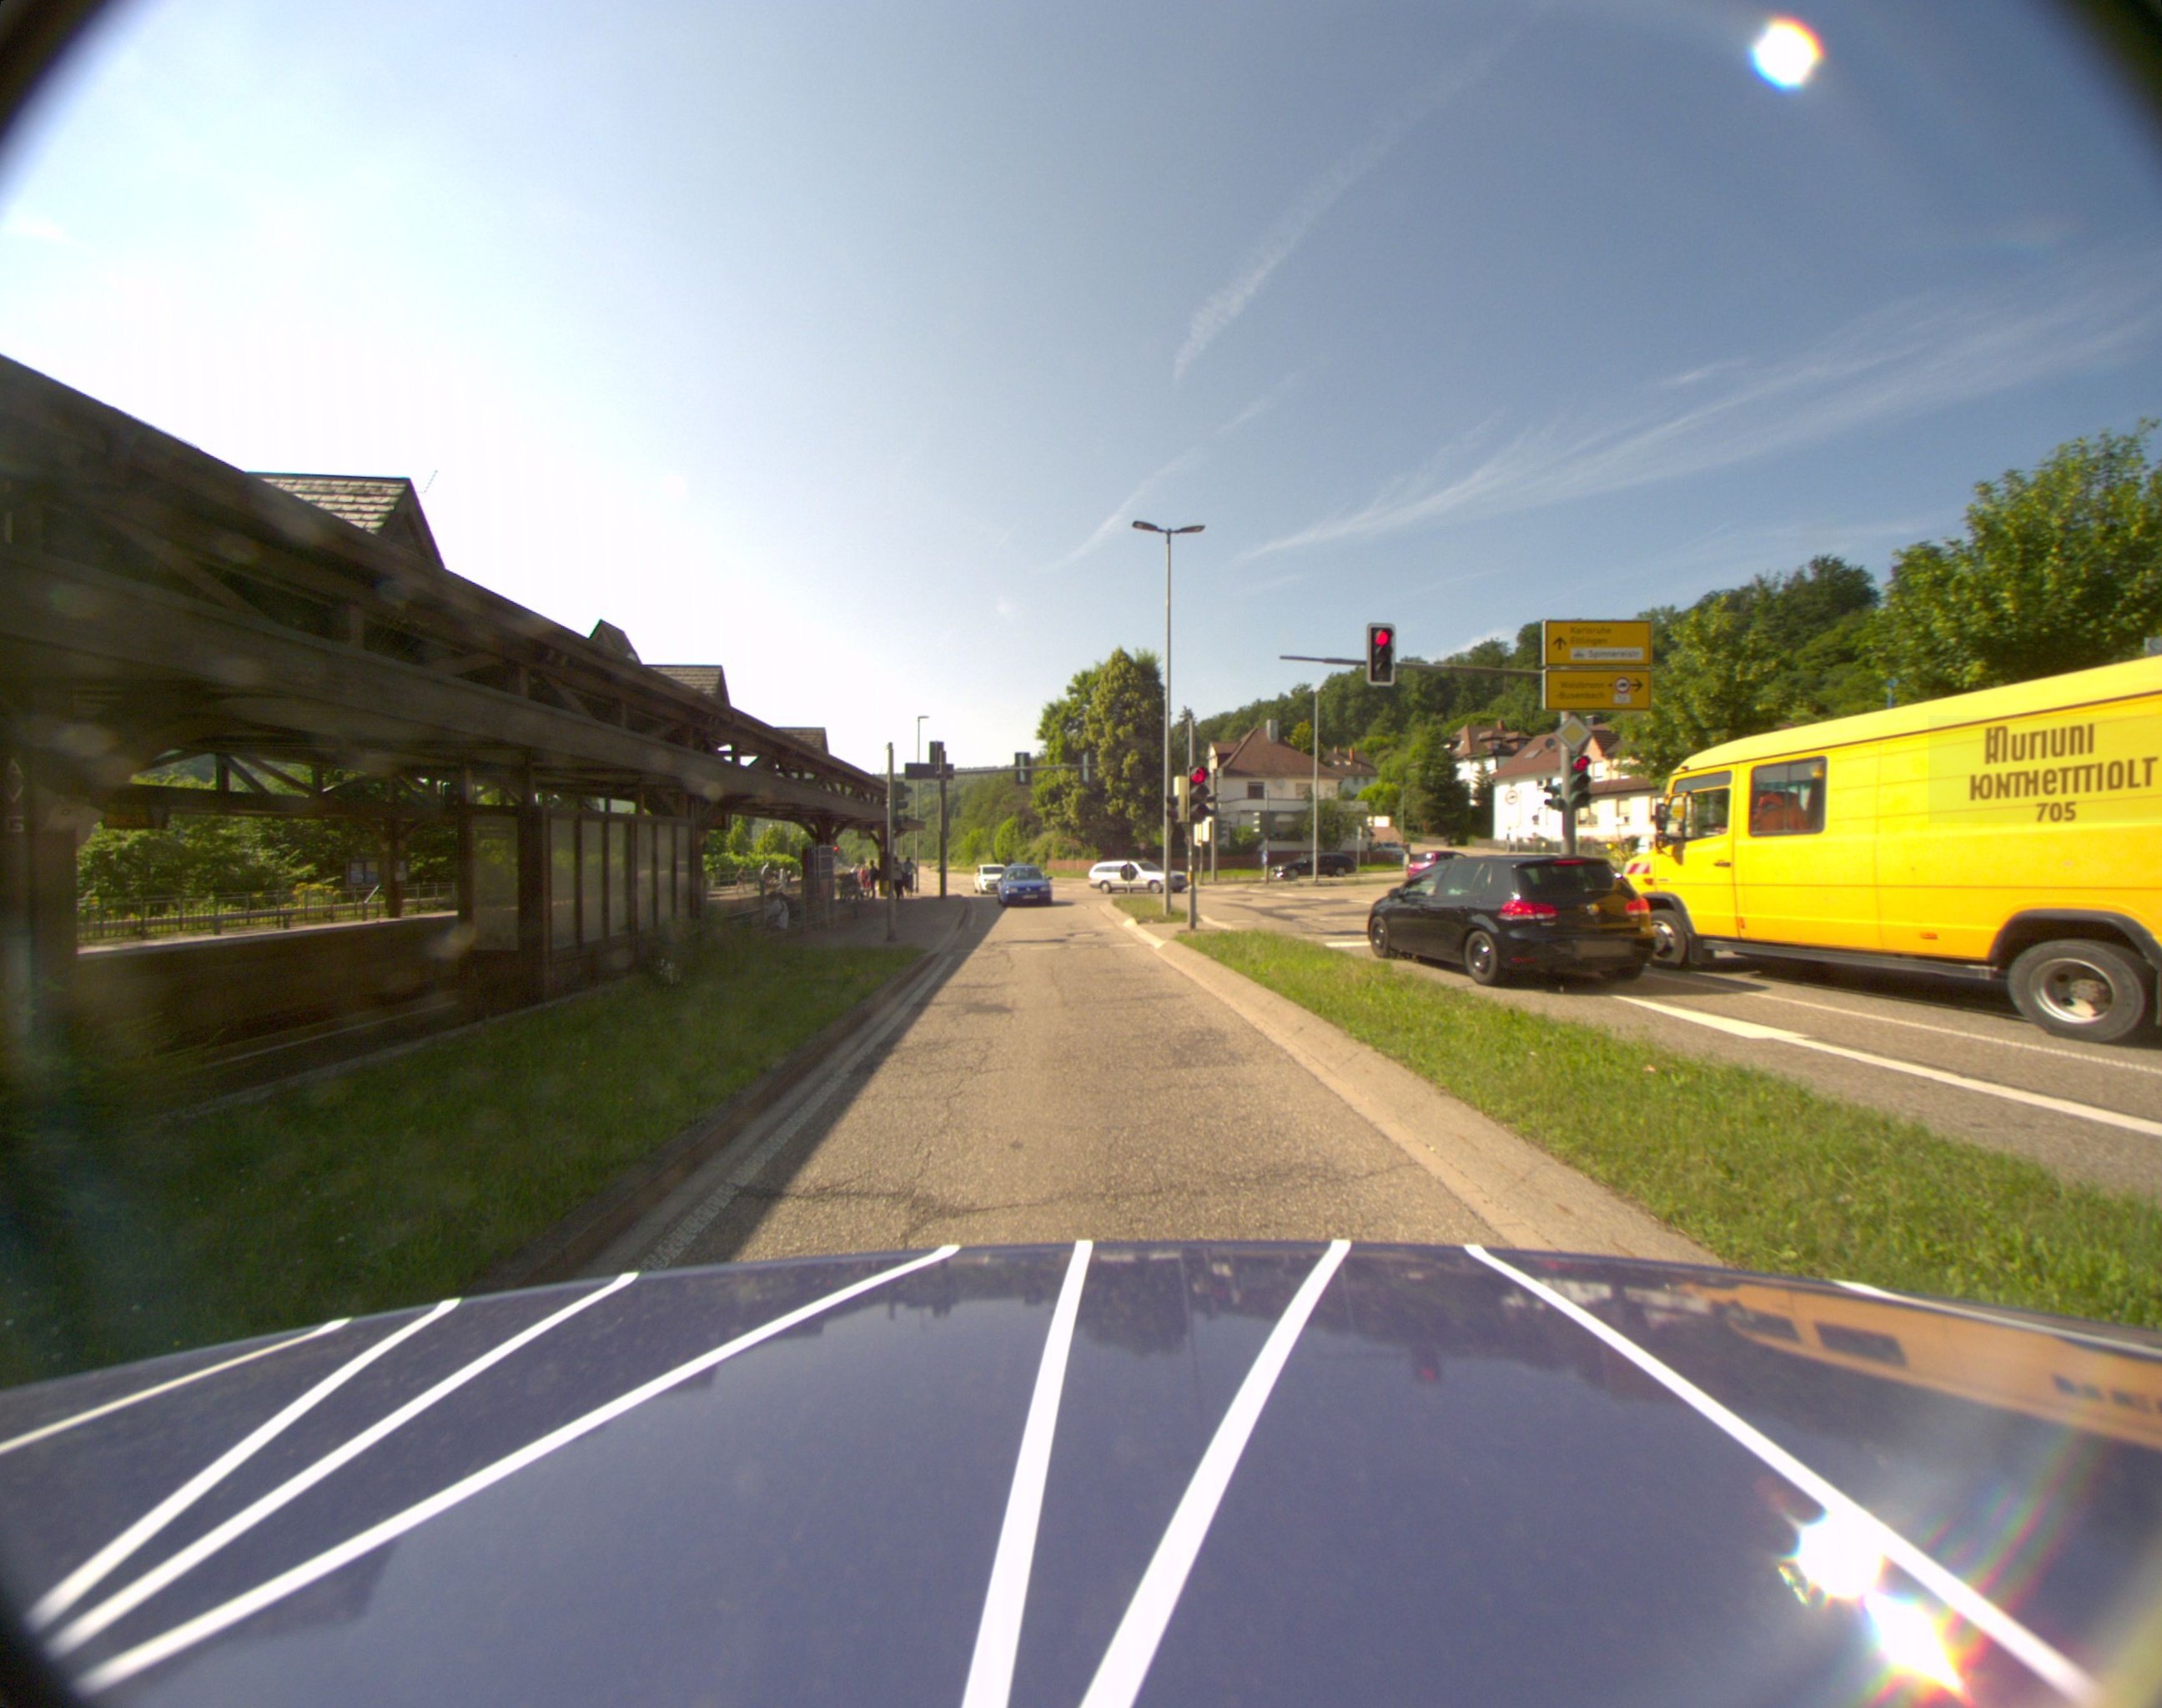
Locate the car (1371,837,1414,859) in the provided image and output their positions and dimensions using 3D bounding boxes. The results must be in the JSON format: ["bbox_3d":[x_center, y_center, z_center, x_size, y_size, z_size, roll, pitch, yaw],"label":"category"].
[{"bbox_3d":[25.829,-0.484,63.138,1.939,1.627,4.001,-3,-1,2],"label":"car"}]

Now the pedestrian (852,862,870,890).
[{"bbox_3d":[-13.434,1.355,46.345,0.823,1.674,0.902,-3,-1,-24],"label":"pedestrian"}]

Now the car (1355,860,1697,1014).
[{"bbox_3d":[5.108,0.820,9.470,1.750,1.454,4.042,-1,0,-3],"label":"car"}]

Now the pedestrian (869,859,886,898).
[{"bbox_3d":[-8.883,1.060,33.136,0.659,1.682,0.738,-1,0,-13],"label":"pedestrian"}]

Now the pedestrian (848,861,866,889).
[{"bbox_3d":[-13.887,1.301,47.166,0.868,1.674,0.822,-3,-1,-7],"label":"pedestrian"}]

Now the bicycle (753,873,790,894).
[{"bbox_3d":[-19.711,1.866,48.404,2.024,1.201,0.708,-2,-1,-45],"label":"bicycle"}]

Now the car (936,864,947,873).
[{"bbox_3d":[-29.074,3.115,158.415,2.000,1.739,3.998,-3,-1,-9],"label":"car"}]

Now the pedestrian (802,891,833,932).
[{"bbox_3d":[-6.532,1.419,18.861,0.619,0.960,0.406,-3,-1,-7],"label":"pedestrian"}]

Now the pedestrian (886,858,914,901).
[{"bbox_3d":[-7.571,1.050,31.894,0.916,1.726,1.251,-3,-1,-6],"label":"pedestrian"}]

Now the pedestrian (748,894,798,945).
[{"bbox_3d":[-6.420,1.362,15.895,0.744,0.976,0.769,-3,-1,-7],"label":"pedestrian"}]

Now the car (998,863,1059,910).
[{"bbox_3d":[-1.973,1.096,27.309,1.866,1.474,4.299,-1,0,-8],"label":"car"}]

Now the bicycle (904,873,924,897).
[{"bbox_3d":[-7.757,1.425,35.288,0.604,1.049,1.811,-3,0,-20],"label":"bicycle"}]

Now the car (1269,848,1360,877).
[{"bbox_3d":[13.987,0.515,45.662,4.748,1.475,1.980,-2,-1,-3],"label":"car"}]

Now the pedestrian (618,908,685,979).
[{"bbox_3d":[-7.347,1.523,13.028,0.744,1.110,0.667,-3,-1,-7],"label":"pedestrian"}]

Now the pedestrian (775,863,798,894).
[{"bbox_3d":[-18.105,1.523,46.727,0.990,1.831,1.073,-2,-1,0],"label":"pedestrian"}]

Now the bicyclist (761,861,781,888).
[{"bbox_3d":[-19.745,1.294,48.406,0.905,1.674,0.820,-3,-1,-43],"label":"bicyclist"}]

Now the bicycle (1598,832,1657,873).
[{"bbox_3d":[18.301,-0.021,25.512,0.620,1.247,1.758,-6,-2,2],"label":"bicycle"}]

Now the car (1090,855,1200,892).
[{"bbox_3d":[2.805,0.923,34.329,1.985,1.495,4.738,-2,-1,-44],"label":"car"}]

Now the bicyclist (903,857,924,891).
[{"bbox_3d":[-7.796,0.922,35.353,0.788,1.559,0.945,-3,1,-20],"label":"bicyclist"}]

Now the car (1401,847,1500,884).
[{"bbox_3d":[16.534,0.499,33.995,3.958,1.525,1.659,-1,0,-20],"label":"car"}]

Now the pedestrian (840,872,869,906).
[{"bbox_3d":[-8.716,1.353,29.260,0.994,1.228,0.596,-3,-1,-14],"label":"pedestrian"}]

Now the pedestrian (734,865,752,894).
[{"bbox_3d":[-20.269,1.522,45.600,0.905,1.674,1.123,-3,-1,-23],"label":"pedestrian"}]

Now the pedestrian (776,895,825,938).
[{"bbox_3d":[-6.392,1.415,17.333,0.847,0.869,0.807,-3,-1,-7],"label":"pedestrian"}]

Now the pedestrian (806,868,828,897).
[{"bbox_3d":[-16.089,1.726,46.289,0.902,1.674,0.824,-3,-1,26],"label":"pedestrian"}]

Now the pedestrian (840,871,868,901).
[{"bbox_3d":[-9.078,1.269,30.445,1.010,1.153,0.947,-2,1,-13],"label":"pedestrian"}]

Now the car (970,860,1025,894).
[{"bbox_3d":[-4.388,1.154,39.342,2.001,1.575,3.994,-3,0,-17],"label":"car"}]

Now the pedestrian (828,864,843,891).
[{"bbox_3d":[-15.517,1.463,48.024,0.558,1.674,0.685,-3,-1,21],"label":"pedestrian"}]

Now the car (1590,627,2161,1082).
[{"bbox_3d":[8.231,-0.042,6.961,2.474,2.993,6.464,-3,0,-3],"label":"car"}]

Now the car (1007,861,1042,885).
[{"bbox_3d":[-3.856,1.245,51.009,1.981,1.495,3.983,-1,0,-9],"label":"car"}]
